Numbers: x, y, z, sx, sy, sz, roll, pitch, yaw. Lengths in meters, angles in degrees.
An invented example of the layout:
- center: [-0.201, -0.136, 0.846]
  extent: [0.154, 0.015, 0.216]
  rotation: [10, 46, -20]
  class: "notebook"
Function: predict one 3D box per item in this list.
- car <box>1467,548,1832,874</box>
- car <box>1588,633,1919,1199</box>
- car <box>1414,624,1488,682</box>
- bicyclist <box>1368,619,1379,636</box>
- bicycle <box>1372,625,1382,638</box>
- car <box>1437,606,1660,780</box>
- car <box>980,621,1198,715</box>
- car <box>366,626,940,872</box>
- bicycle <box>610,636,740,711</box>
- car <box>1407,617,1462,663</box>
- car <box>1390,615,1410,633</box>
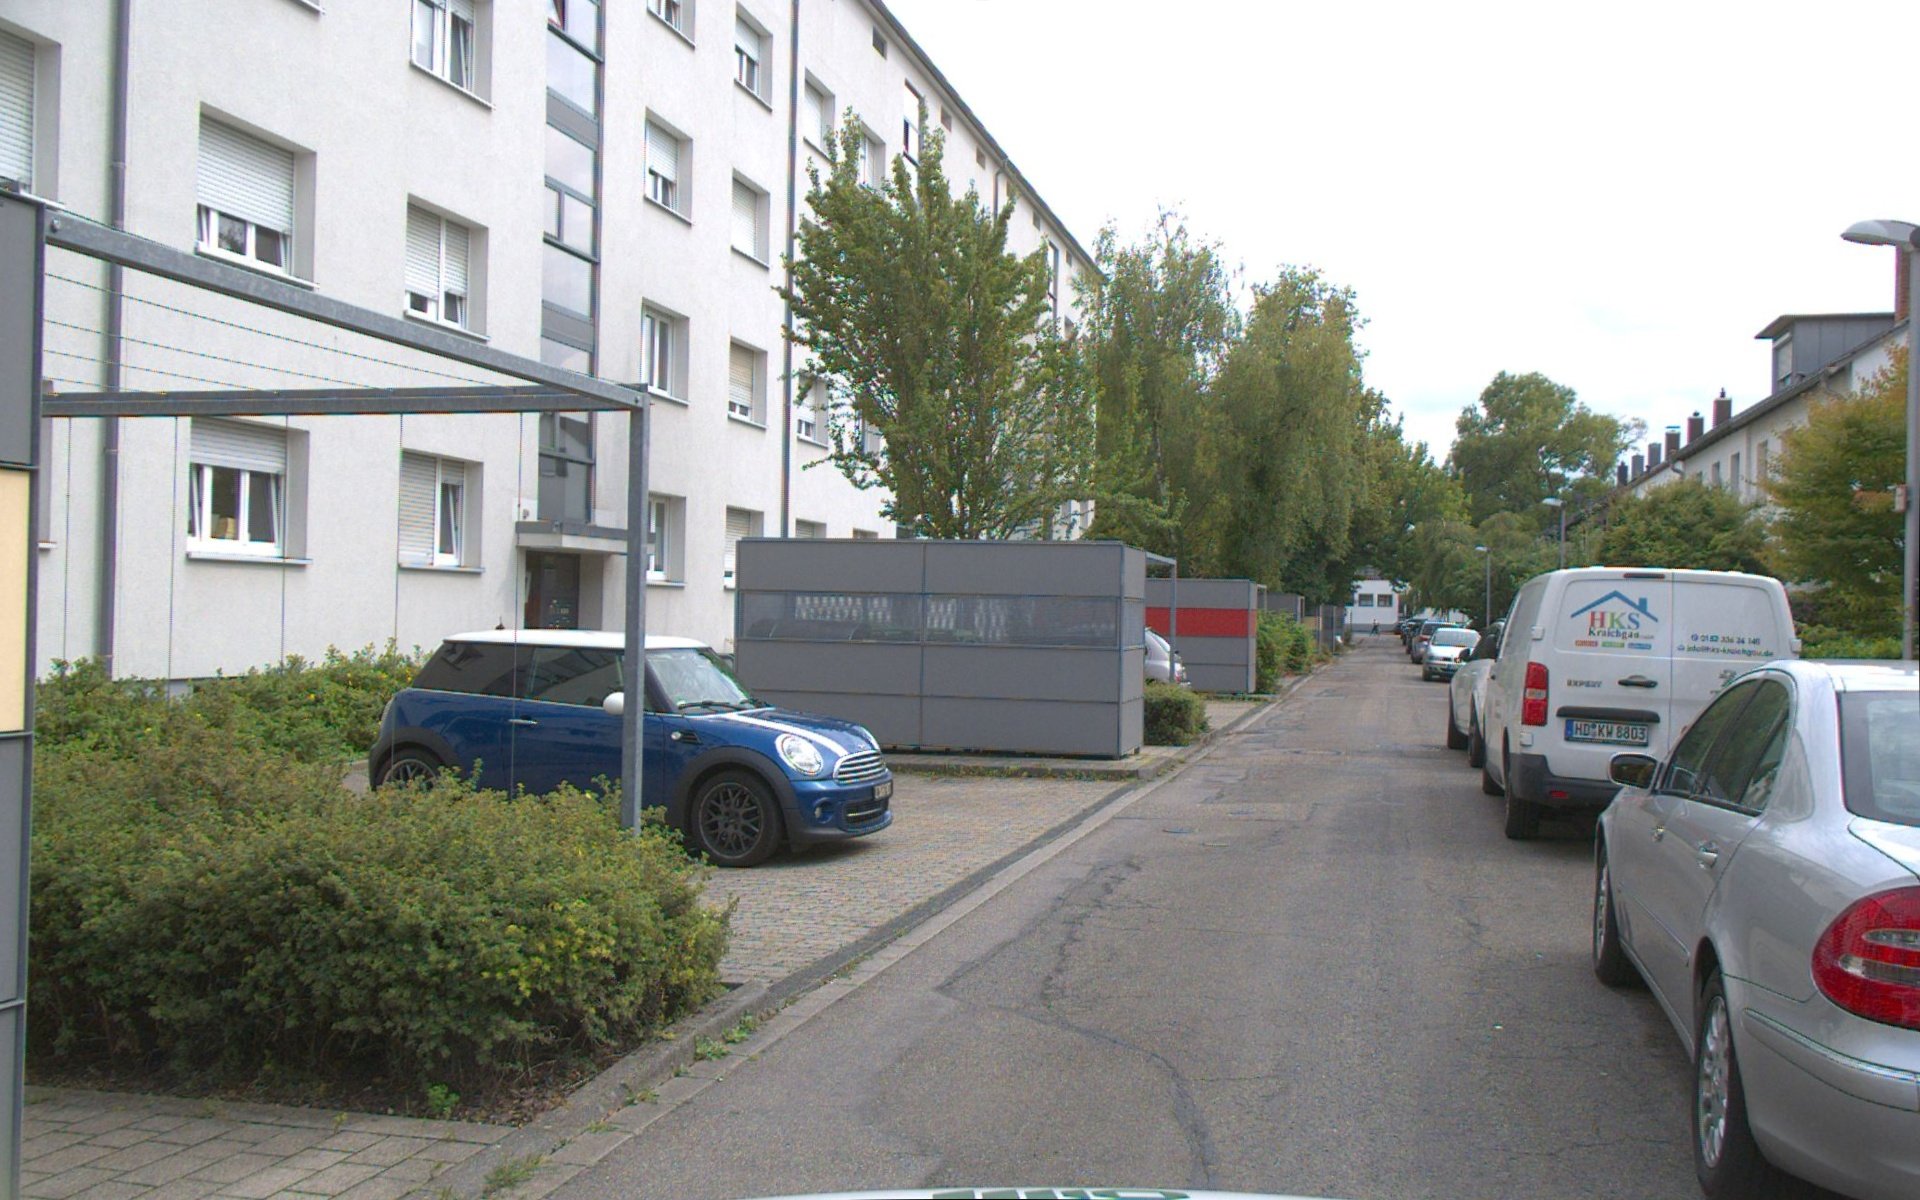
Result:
- center: [5.220, 0.725, 13.251]
  extent: [1.863, 1.999, 5.257]
  rotation: [2, 0, 14]
  class: "car"
- center: [3.118, 0.880, 5.182]
  extent: [1.746, 1.445, 4.458]
  rotation: [2, 0, 16]
  class: "car"
- center: [13.428, 1.404, 45.377]
  extent: [1.786, 1.394, 4.333]
  rotation: [3, 0, 15]
  class: "car"
- center: [36.566, 2.432, 146.208]
  extent: [0.782, 1.537, 0.934]
  rotation: [2, 0, 17]
  class: "bicyclist"
- center: [36.861, 2.764, 146.109]
  extent: [0.674, 1.151, 2.580]
  rotation: [3, 0, 17]
  class: "bicycle"
- center: [6.541, 0.953, 18.798]
  extent: [1.786, 1.664, 4.165]
  rotation: [2, 0, 12]
  class: "car"
- center: [2.201, 1.107, 27.749]
  extent: [3.485, 1.506, 1.712]
  rotation: [0, -1, 11]
  class: "car"
- center: [-2.085, 0.930, 11.460]
  extent: [3.559, 1.487, 1.653]
  rotation: [0, -1, 18]
  class: "car"
- center: [-4.115, 1.055, 23.920]
  extent: [1.783, 1.042, 0.475]
  rotation: [1, -1, -26]
  class: "bicycle"
- center: [18.173, 1.494, 63.500]
  extent: [1.786, 1.609, 4.003]
  rotation: [3, 0, 13]
  class: "car"
- center: [42.203, 2.326, 158.606]
  extent: [1.786, 1.609, 4.003]
  rotation: [3, 0, 15]
  class: "car"
